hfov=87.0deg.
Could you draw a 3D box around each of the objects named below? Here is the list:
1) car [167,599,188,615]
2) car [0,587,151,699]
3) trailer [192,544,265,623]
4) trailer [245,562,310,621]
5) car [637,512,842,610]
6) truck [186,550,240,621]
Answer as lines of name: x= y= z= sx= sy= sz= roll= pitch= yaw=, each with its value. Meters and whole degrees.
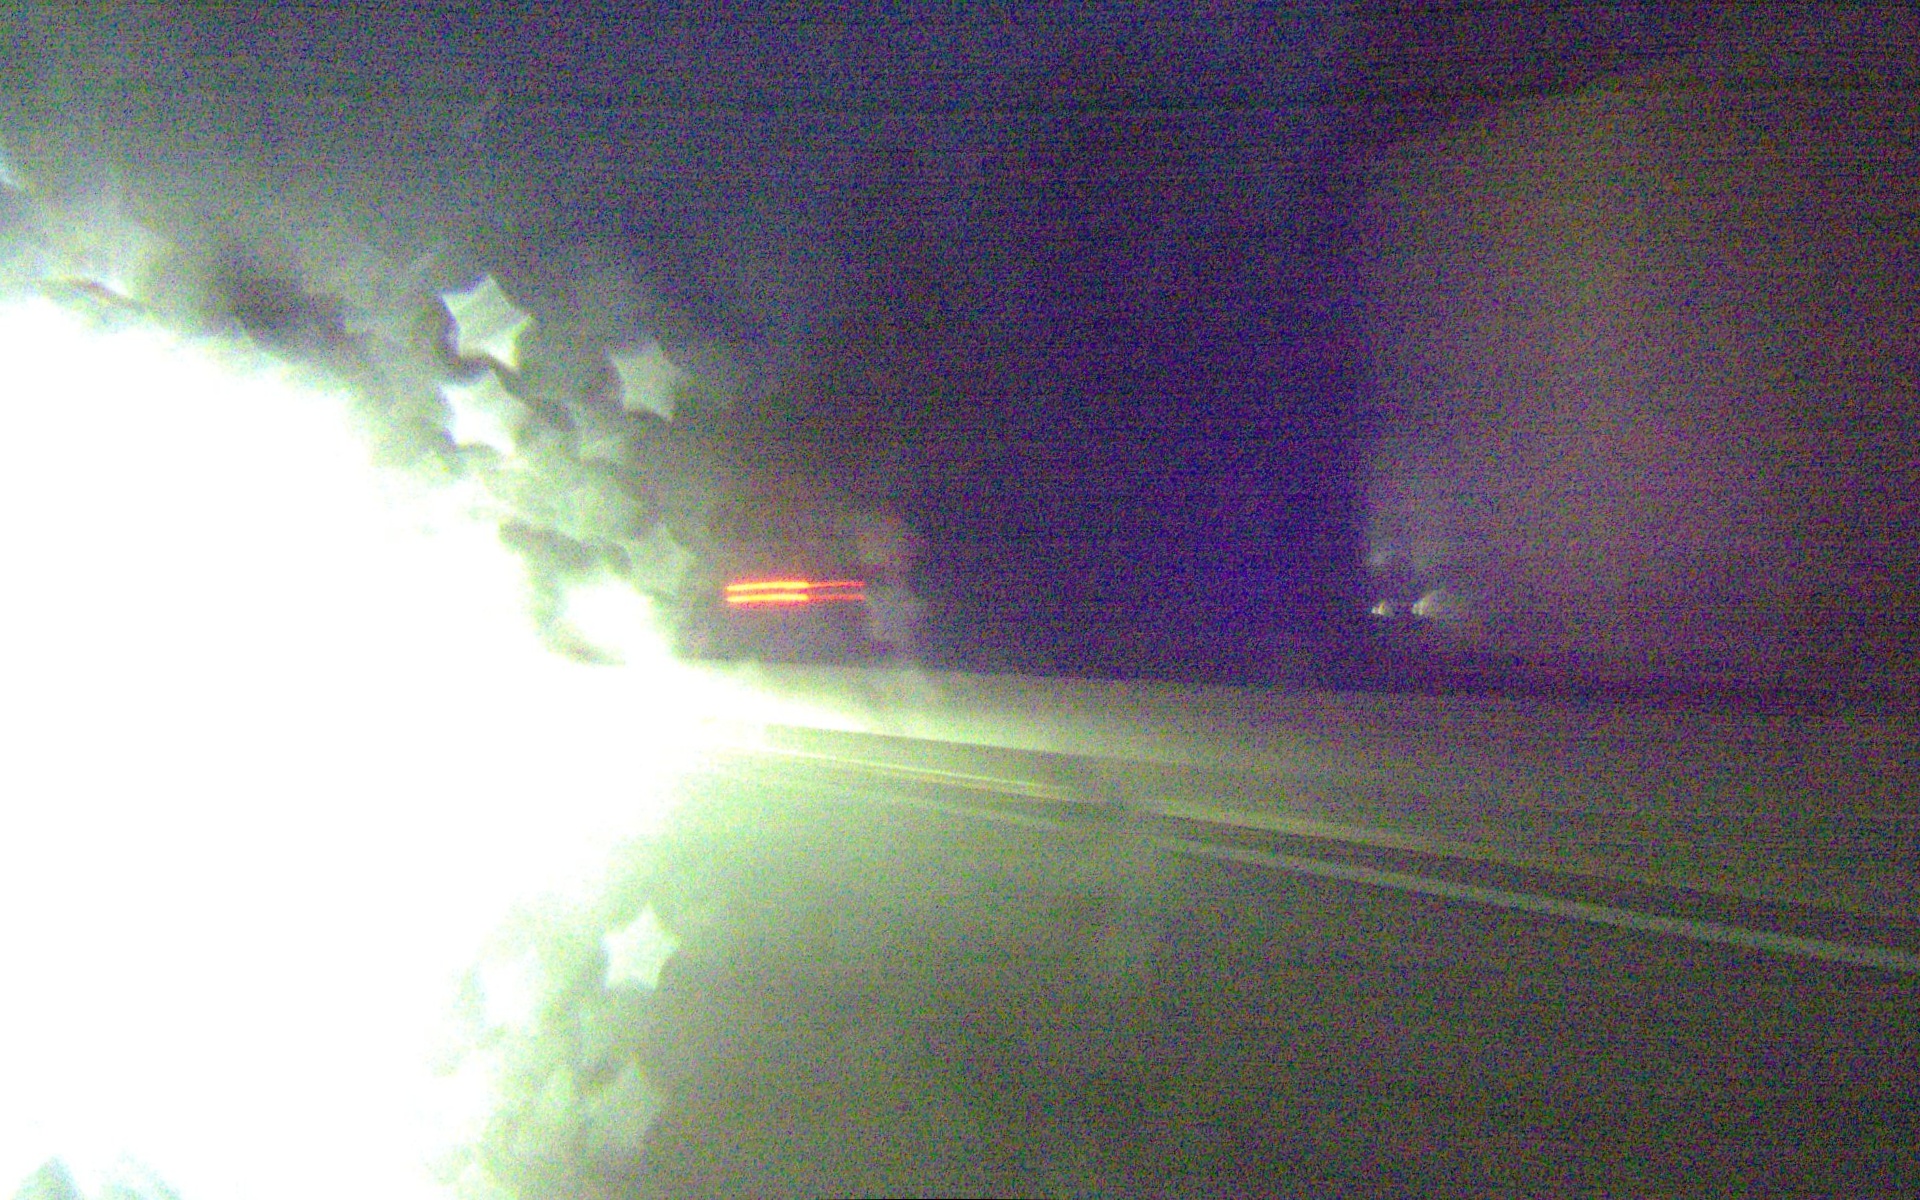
car: x=-123.871 y=1.110 z=160.143 sx=2.148 sy=2.459 sz=4.943 roll=-1 pitch=0 yaw=-42
car: x=-17.681 y=0.726 z=19.789 sx=5.555 sy=1.898 sz=2.113 roll=0 pitch=1 yaw=43
trailer: x=-59.763 y=-1.252 z=82.476 sx=2.875 sy=5.939 sz=14.184 roll=-1 pitch=0 yaw=-44
trailer: x=-62.777 y=-0.727 z=92.885 sx=2.741 sy=5.012 sz=14.120 roll=-1 pitch=0 yaw=-43
car: x=-5.684 y=-0.873 z=25.685 sx=5.540 sy=2.179 sz=2.122 roll=-1 pitch=-1 yaw=39
truck: x=-64.778 y=-1.241 z=87.744 sx=2.870 sy=5.939 sz=6.885 roll=-1 pitch=0 yaw=-44
